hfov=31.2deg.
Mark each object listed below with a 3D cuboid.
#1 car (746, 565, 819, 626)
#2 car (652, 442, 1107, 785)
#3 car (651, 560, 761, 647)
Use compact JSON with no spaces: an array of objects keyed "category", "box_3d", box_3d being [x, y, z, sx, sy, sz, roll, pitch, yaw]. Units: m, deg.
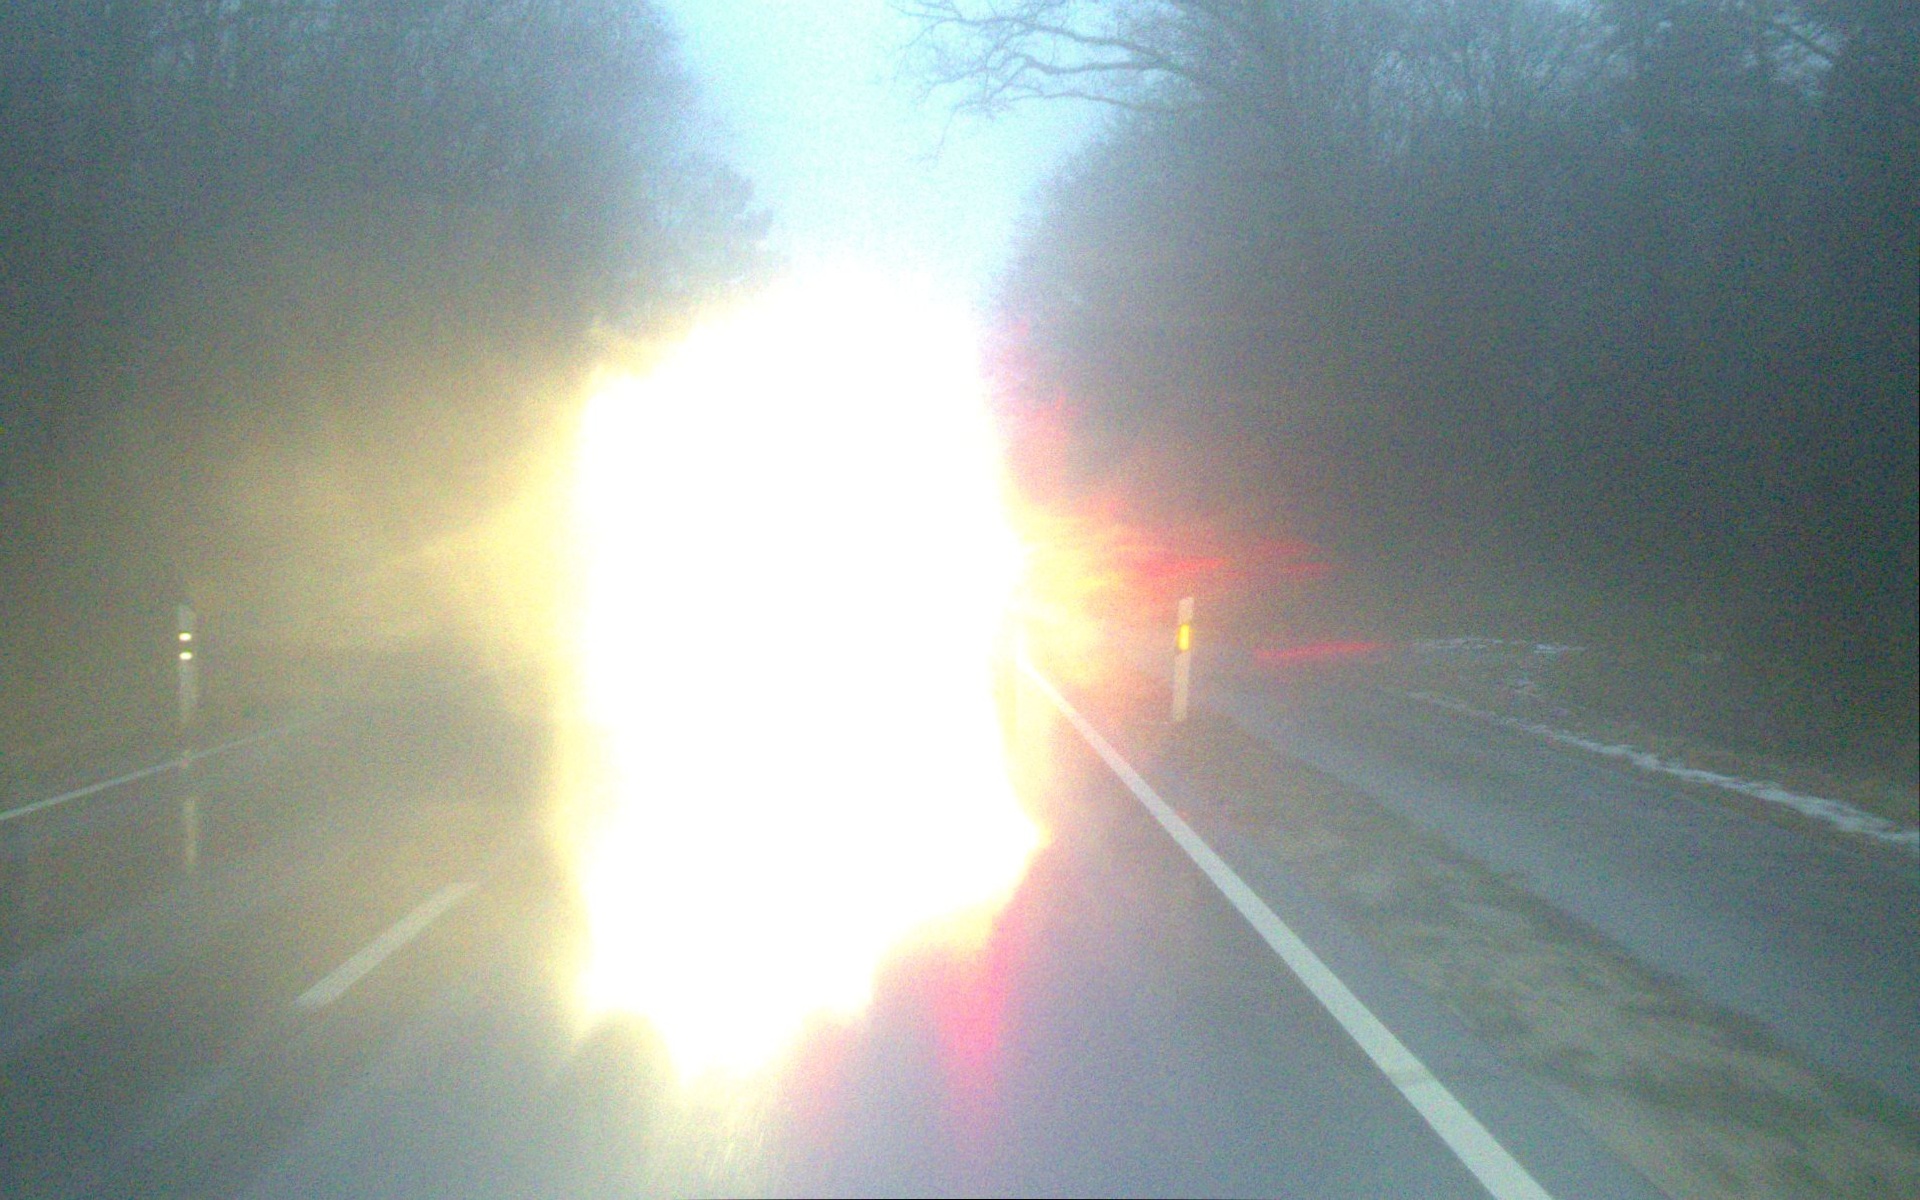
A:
[{"category":"car","box_3d":[-5.142,-0.153,100.050,1.918,1.602,5.017,-1,2,-1]},{"category":"car","box_3d":[-0.553,0.063,27.545,3.183,2.378,6.636,1,1,0]},{"category":"car","box_3d":[-4.488,0.031,61.263,1.691,1.415,4.000,-1,1,-1]}]
